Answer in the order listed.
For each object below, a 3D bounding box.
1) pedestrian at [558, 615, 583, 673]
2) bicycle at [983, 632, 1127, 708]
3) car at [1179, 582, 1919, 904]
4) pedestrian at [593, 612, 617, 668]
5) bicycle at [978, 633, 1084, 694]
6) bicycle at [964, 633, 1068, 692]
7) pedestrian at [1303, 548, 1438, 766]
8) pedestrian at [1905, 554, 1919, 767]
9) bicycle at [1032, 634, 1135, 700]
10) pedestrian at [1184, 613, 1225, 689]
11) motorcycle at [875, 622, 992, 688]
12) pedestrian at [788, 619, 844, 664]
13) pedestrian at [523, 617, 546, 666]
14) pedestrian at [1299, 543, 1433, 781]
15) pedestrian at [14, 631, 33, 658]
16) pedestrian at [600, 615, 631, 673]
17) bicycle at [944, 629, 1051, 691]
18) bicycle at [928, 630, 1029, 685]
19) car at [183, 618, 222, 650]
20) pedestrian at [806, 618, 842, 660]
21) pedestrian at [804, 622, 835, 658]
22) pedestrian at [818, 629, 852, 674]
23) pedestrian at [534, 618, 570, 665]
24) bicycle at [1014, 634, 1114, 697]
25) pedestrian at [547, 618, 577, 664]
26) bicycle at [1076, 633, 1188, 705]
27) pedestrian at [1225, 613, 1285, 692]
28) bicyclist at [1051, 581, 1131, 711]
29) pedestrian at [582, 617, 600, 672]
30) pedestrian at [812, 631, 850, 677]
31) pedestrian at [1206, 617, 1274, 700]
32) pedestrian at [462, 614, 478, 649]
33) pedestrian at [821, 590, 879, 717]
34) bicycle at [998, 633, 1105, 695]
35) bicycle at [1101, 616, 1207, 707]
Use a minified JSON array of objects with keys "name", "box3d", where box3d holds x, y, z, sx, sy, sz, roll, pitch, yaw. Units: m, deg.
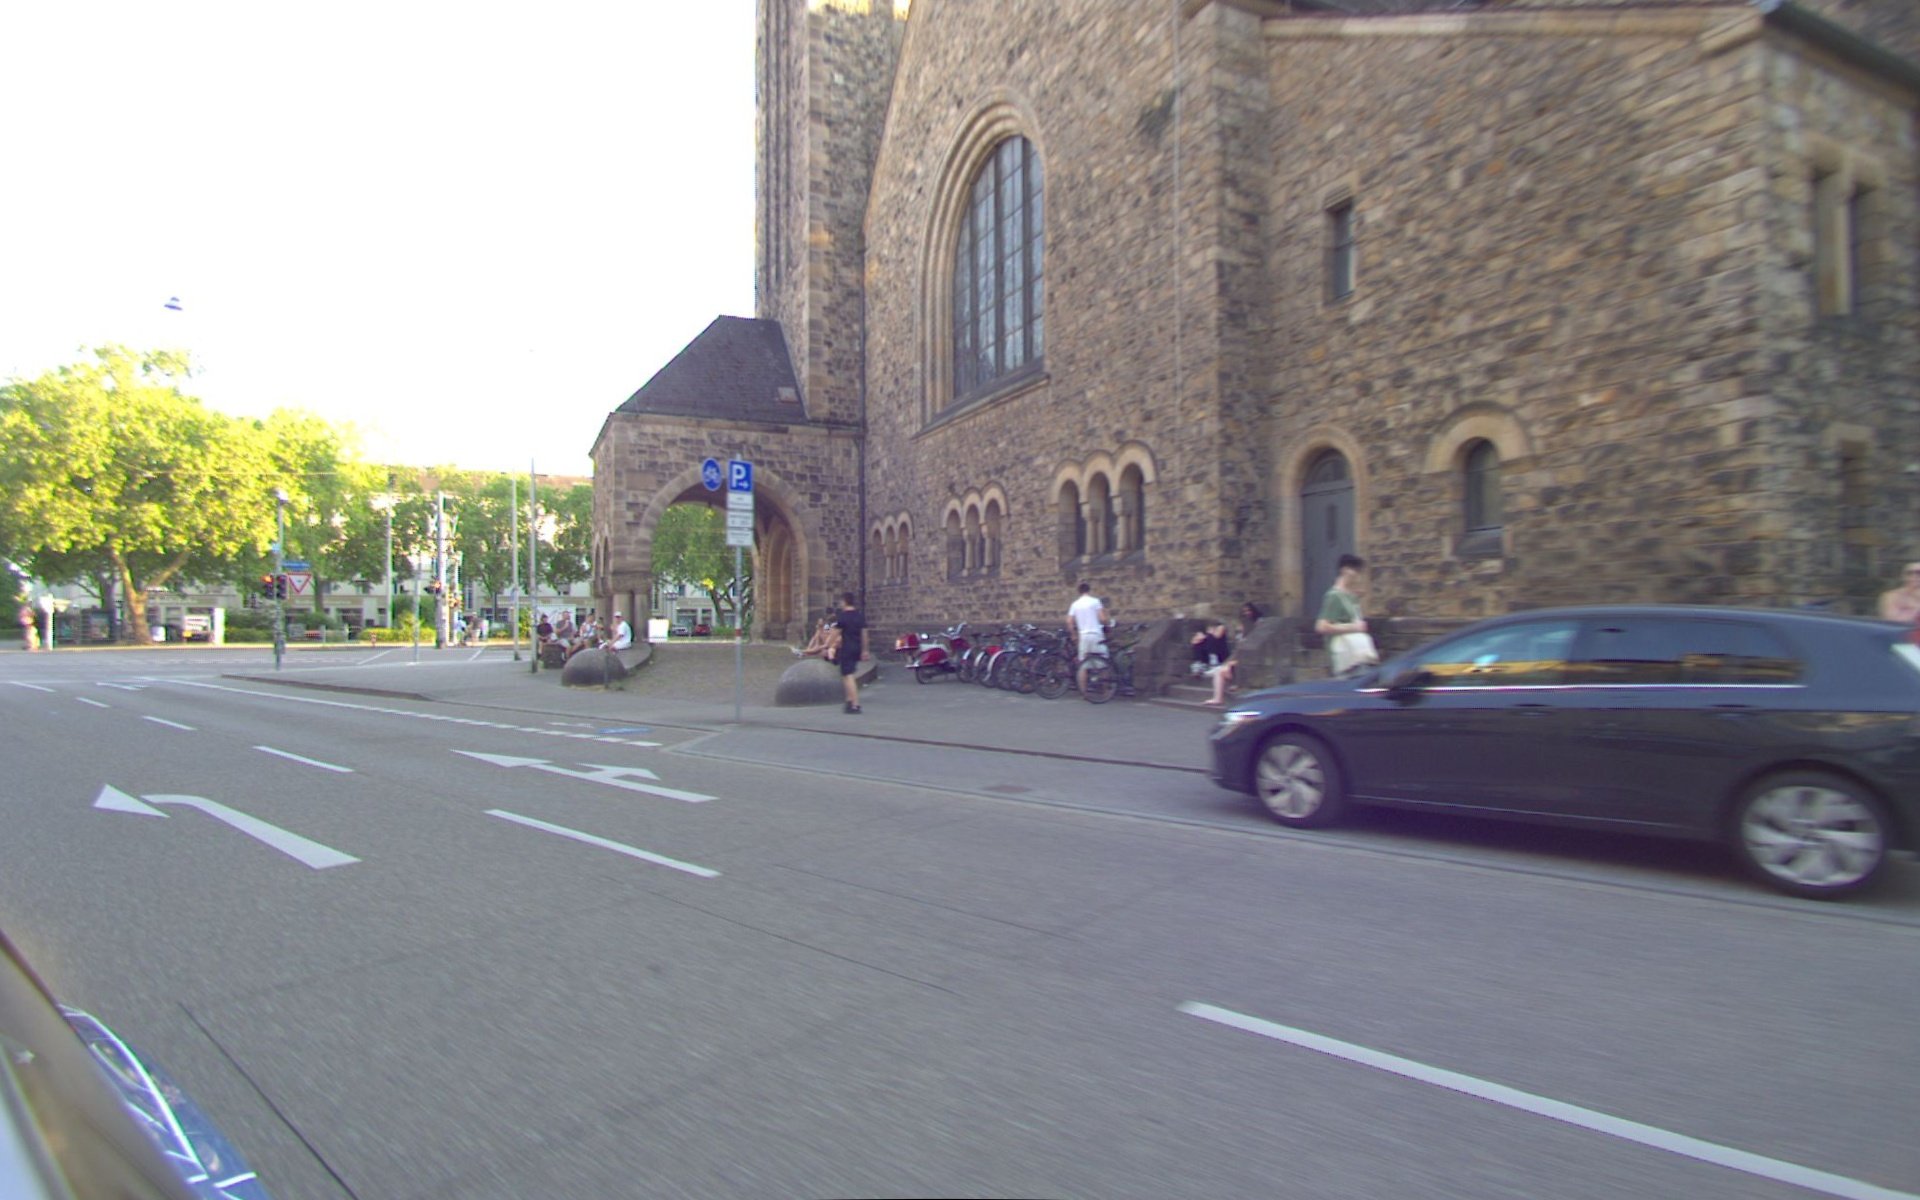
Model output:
[{"name":"pedestrian","box3d":[-10.056,1.132,26.136,0.541,1.464,0.559,0,-2,-14]},{"name":"bicycle","box3d":[1.453,1.041,15.400,2.150,1.020,0.555,-1,-1,-22]},{"name":"car","box3d":[3.721,0.692,6.321,4.315,1.446,1.764,-2,-2,43]},{"name":"pedestrian","box3d":[-9.039,1.007,25.785,0.539,1.417,0.460,0,-2,-14]},{"name":"bicycle","box3d":[1.264,1.085,17.688,1.974,0.997,0.467,1,-2,-34]},{"name":"bicycle","box3d":[1.027,1.096,18.144,1.974,0.997,0.467,1,-2,-34]},{"name":"pedestrian","box3d":[3.725,0.500,9.204,0.987,1.870,0.567,-2,-2,38]},{"name":"pedestrian","box3d":[7.873,0.476,7.902,0.541,1.687,0.415,-1,-1,1]},{"name":"bicycle","box3d":[2.009,1.054,16.274,1.853,0.997,0.371,1,-2,-35]},{"name":"pedestrian","box3d":[3.473,0.717,14.395,0.514,1.056,0.736,-1,-1,11]},{"name":"motorcycle","box3d":[-0.488,1.057,19.910,0.822,1.134,2.387,-2,0,45]},{"name":"pedestrian","box3d":[-3.624,1.035,25.492,1.315,1.102,0.685,0,-2,1]},{"name":"pedestrian","box3d":[-13.100,1.263,31.141,0.619,1.465,0.918,0,-2,-23]},{"name":"pedestrian","box3d":[3.442,0.507,8.584,0.890,1.893,0.640,-2,-2,38]},{"name":"pedestrian","box3d":[-58.204,2.782,62.927,0.734,1.641,0.661,0,-2,-32]},{"name":"pedestrian","box3d":[-8.615,1.097,25.324,0.692,1.417,0.634,0,-2,-14]},{"name":"bicycle","box3d":[0.719,1.088,18.744,1.975,0.996,0.587,-3,0,-34]},{"name":"bicycle","box3d":[0.372,1.088,19.408,1.975,0.997,0.587,1,-2,-36]},{"name":"car","box3d":[-49.772,2.196,66.542,1.837,2.029,3.820,1,-2,-34]},{"name":"pedestrian","box3d":[-3.515,1.004,26.187,0.819,1.084,0.647,0,-2,1]},{"name":"pedestrian","box3d":[-3.734,1.054,26.861,0.730,0.923,0.647,0,-2,1]},{"name":"pedestrian","box3d":[-2.787,1.147,22.640,0.642,0.975,0.560,-1,-2,8]},{"name":"pedestrian","box3d":[-12.313,1.254,30.533,0.793,1.385,0.699,0,-2,2]},{"name":"bicycle","box3d":[1.749,1.064,16.828,1.853,0.997,0.371,1,-2,-34]},{"name":"pedestrian","box3d":[-12.408,1.271,31.545,0.790,1.385,0.701,0,-2,-15]},{"name":"bicycle","box3d":[2.579,1.005,15.057,1.853,0.997,0.442,1,-2,-34]},{"name":"pedestrian","box3d":[4.060,0.715,13.965,0.490,1.056,0.609,0,-2,-29]},{"name":"bicyclist","box3d":[1.971,0.677,15.301,0.926,1.894,0.710,-1,-1,-24]},{"name":"pedestrian","box3d":[-9.610,1.152,26.374,0.395,1.417,0.549,0,-2,-14]},{"name":"pedestrian","box3d":[-2.805,1.171,22.032,0.688,0.999,0.560,-1,-2,8]},{"name":"pedestrian","box3d":[3.681,0.754,13.322,0.509,1.064,0.702,1,-2,-32]},{"name":"pedestrian","box3d":[-26.016,1.667,53.755,0.699,1.861,1.163,0,-2,-29]},{"name":"pedestrian","box3d":[-1.572,0.743,14.369,0.704,1.738,0.694,0,-2,-17]},{"name":"bicycle","box3d":[1.576,1.065,17.261,1.957,0.997,0.467,1,-2,-34]},{"name":"bicycle","box3d":[2.840,0.869,14.743,1.705,1.258,0.438,1,-2,-35]}]
